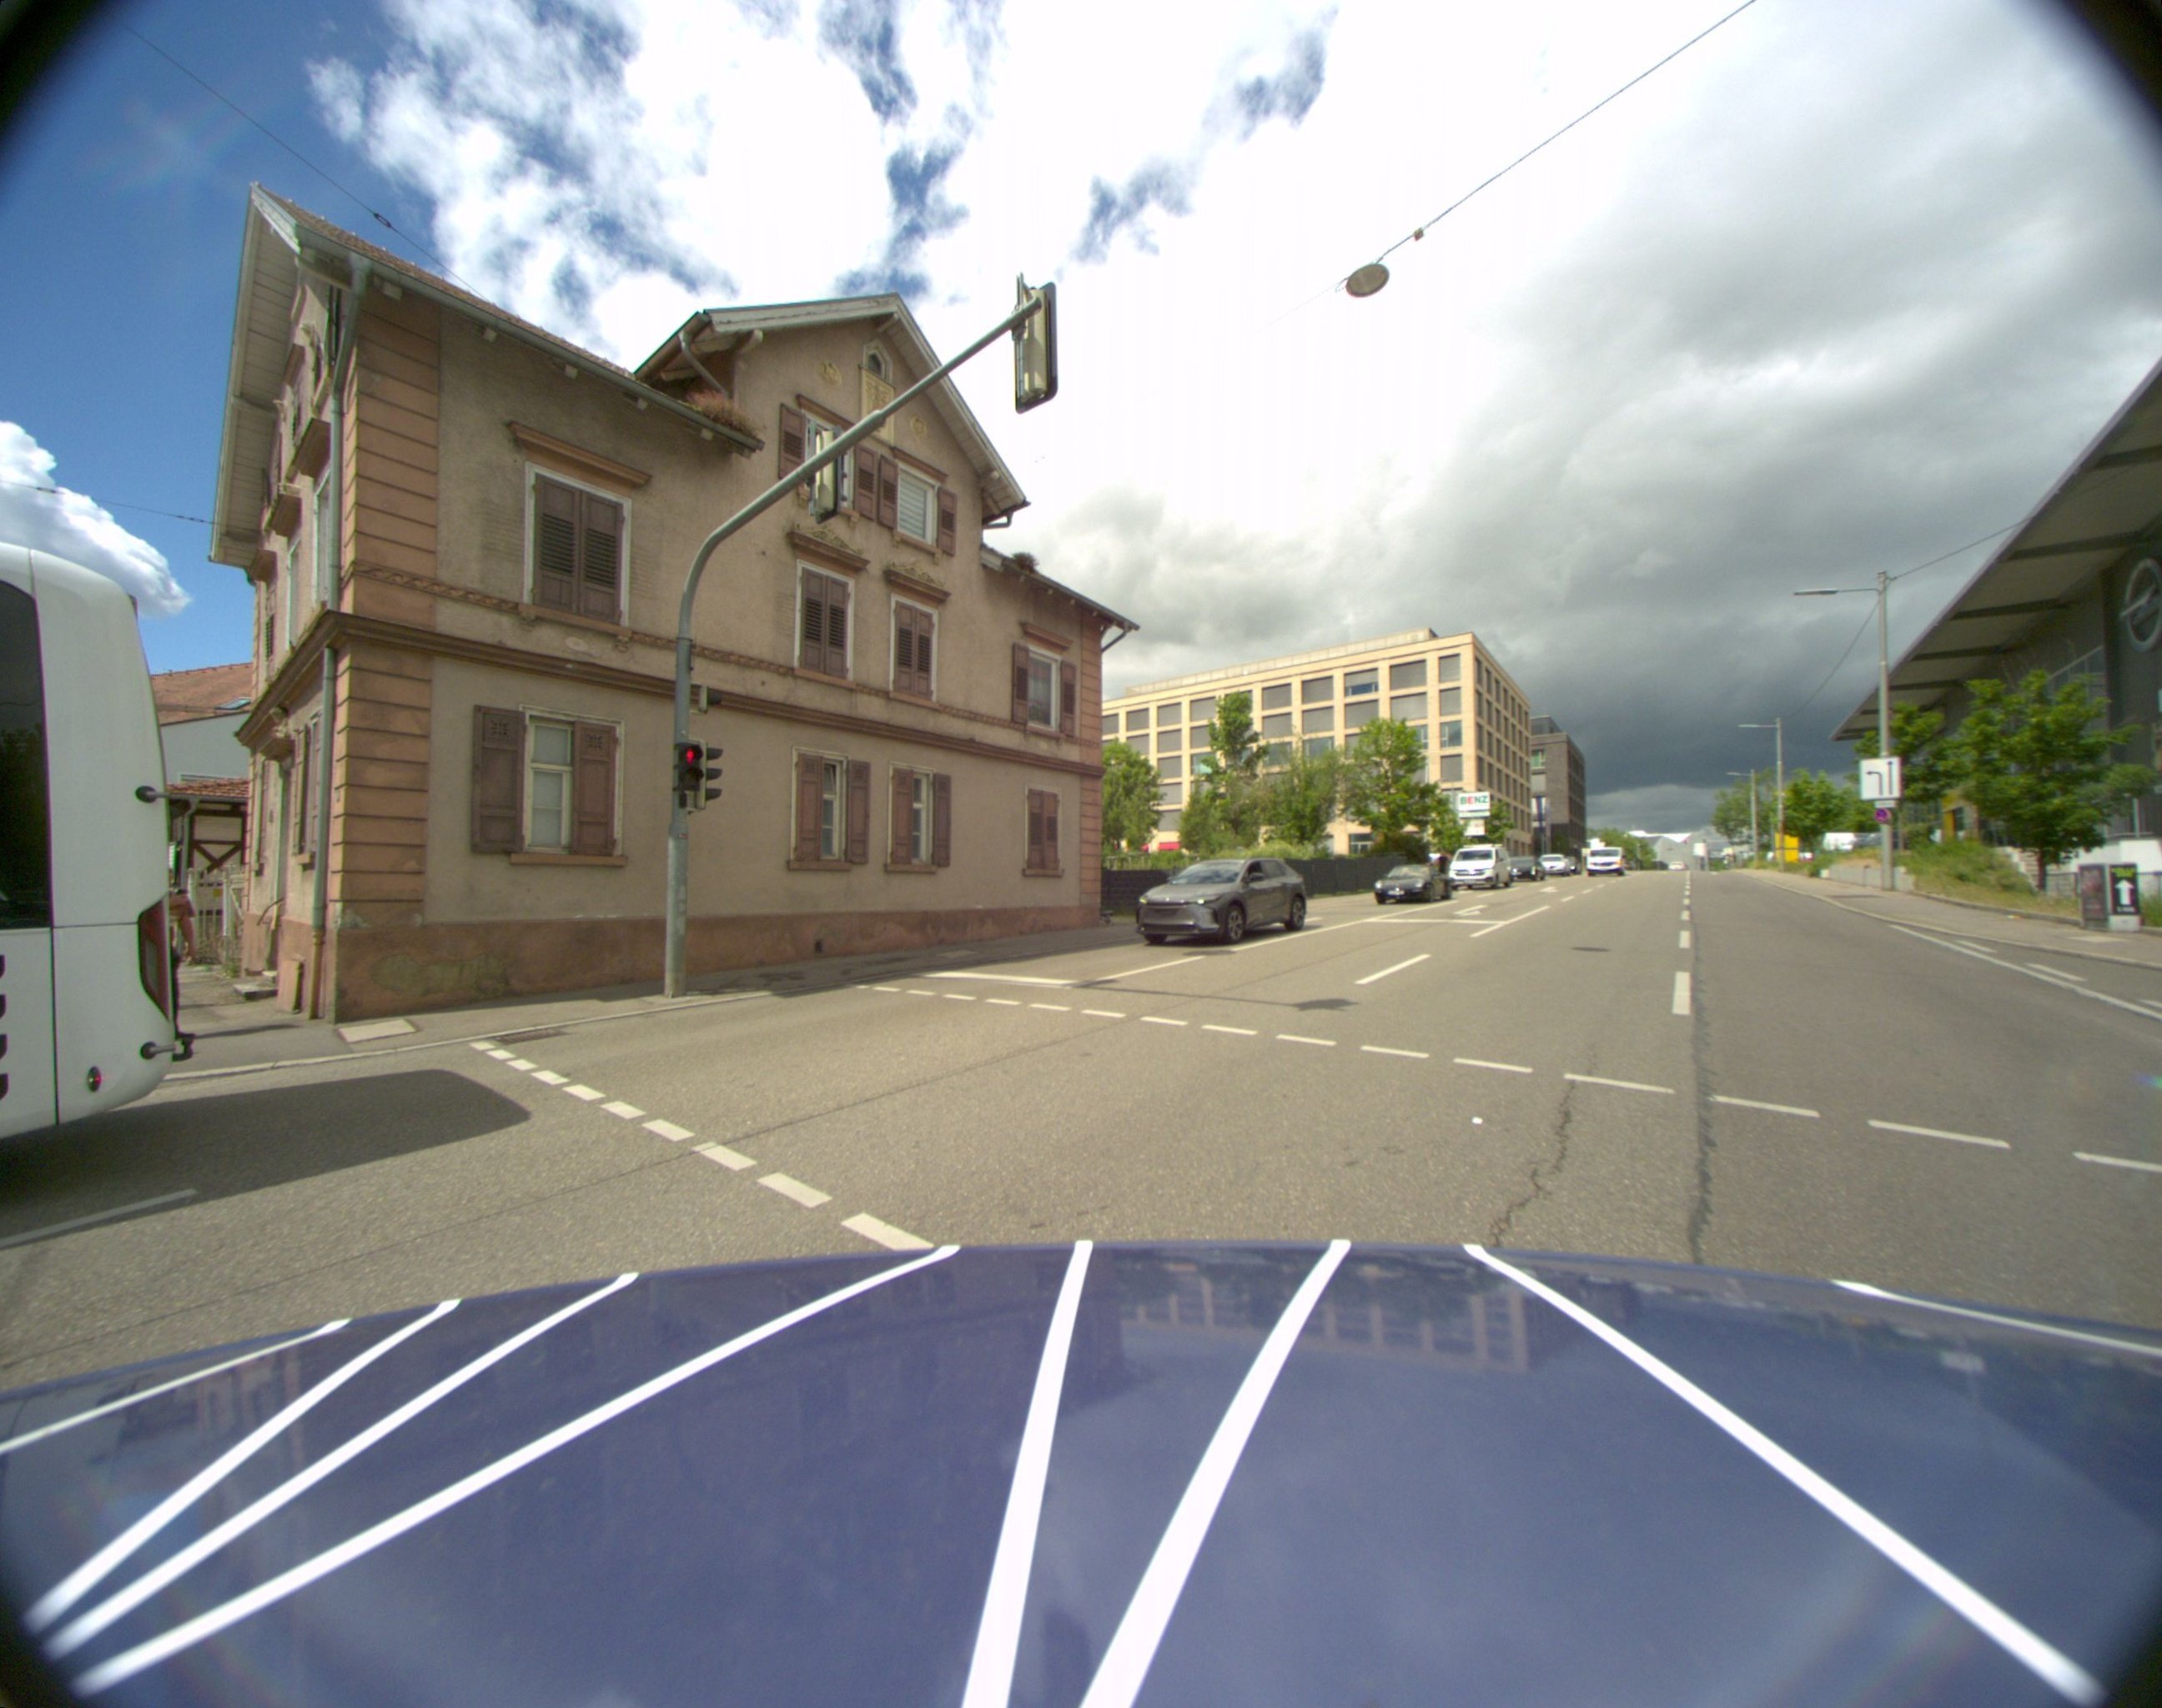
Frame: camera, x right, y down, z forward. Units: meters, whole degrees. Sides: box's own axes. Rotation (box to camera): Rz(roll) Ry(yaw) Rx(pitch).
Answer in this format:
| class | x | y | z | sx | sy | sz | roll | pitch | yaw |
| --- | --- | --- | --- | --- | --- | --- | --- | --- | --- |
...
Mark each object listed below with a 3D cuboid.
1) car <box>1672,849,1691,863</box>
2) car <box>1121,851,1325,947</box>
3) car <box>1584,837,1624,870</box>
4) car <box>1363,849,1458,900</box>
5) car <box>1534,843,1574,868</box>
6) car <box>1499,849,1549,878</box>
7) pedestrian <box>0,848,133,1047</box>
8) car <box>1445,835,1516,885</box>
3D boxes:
| class | x | y | z | sx | sy | sz | roll | pitch | yaw |
| --- | --- | --- | --- | --- | --- | --- | --- | --- | --- |
| car | 88.430 | 0.324 | 111.925 | 1.995 | 1.863 | 4.999 | -2 | 0 | 37 |
| car | 3.100 | 0.796 | 15.564 | 1.995 | 1.568 | 5.108 | -2 | -1 | 37 |
| car | 35.274 | -0.063 | 51.180 | 1.995 | 1.981 | 4.999 | -2 | 1 | 37 |
| car | 11.403 | 0.683 | 26.131 | 1.995 | 1.458 | 4.338 | -2 | 1 | 37 |
| car | 33.172 | 0.106 | 53.244 | 1.995 | 1.525 | 4.338 | -2 | 1 | 37 |
| car | 25.757 | 0.538 | 44.097 | 1.995 | 1.458 | 4.338 | -2 | 1 | 37 |
| pedestrian | -10.384 | 0.895 | 7.717 | 0.725 | 1.854 | 1.045 | -4 | 1 | -44 |
| car | 18.489 | 0.239 | 35.056 | 1.995 | 2.000 | 4.825 | -2 | 1 | 38 |
